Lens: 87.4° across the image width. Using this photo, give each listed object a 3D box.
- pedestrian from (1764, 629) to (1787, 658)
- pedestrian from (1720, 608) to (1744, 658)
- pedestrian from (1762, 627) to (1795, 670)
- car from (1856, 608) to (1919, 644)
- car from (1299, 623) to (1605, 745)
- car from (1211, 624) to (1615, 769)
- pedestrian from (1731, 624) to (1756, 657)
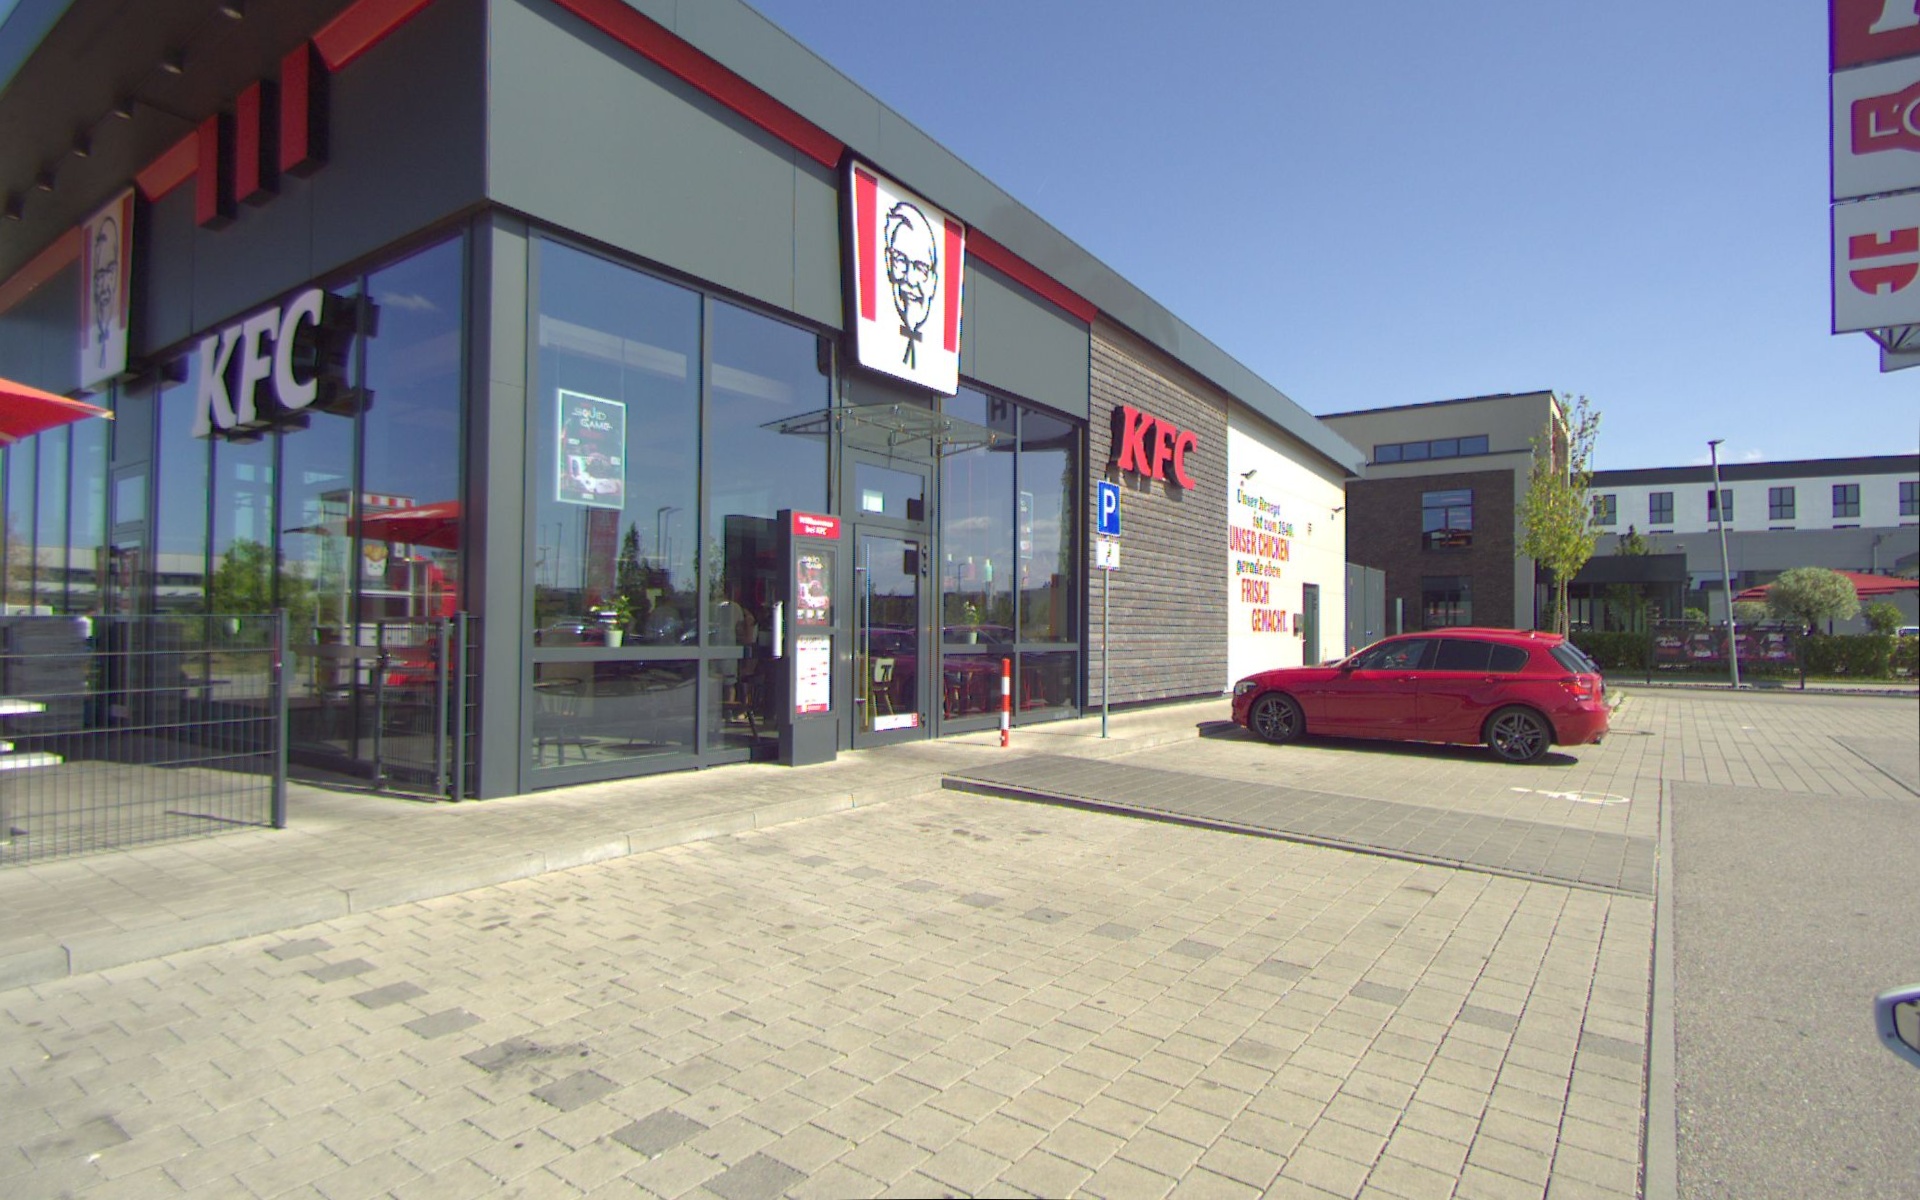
[{"bbox_3d":[31.206,1.665,38.431,0.540,1.104,0.572,0,-1,-38],"label":"pedestrian"},{"bbox_3d":[23.493,0.999,30.567,0.517,1.525,0.567,-1,-1,33],"label":"pedestrian"},{"bbox_3d":[26.308,1.554,32.295,0.637,1.385,0.482,0,-1,11],"label":"pedestrian"},{"bbox_3d":[41.749,1.128,44.395,1.917,1.551,4.373,-1,-1,24],"label":"car"},{"bbox_3d":[7.207,1.128,14.844,3.844,1.526,1.735,0,-1,35],"label":"car"},{"bbox_3d":[5.481,1.052,12.377,4.327,1.432,1.735,0,-1,34],"label":"car"},{"bbox_3d":[29.829,1.542,38.228,0.700,1.214,0.613,-1,-1,44],"label":"pedestrian"}]
